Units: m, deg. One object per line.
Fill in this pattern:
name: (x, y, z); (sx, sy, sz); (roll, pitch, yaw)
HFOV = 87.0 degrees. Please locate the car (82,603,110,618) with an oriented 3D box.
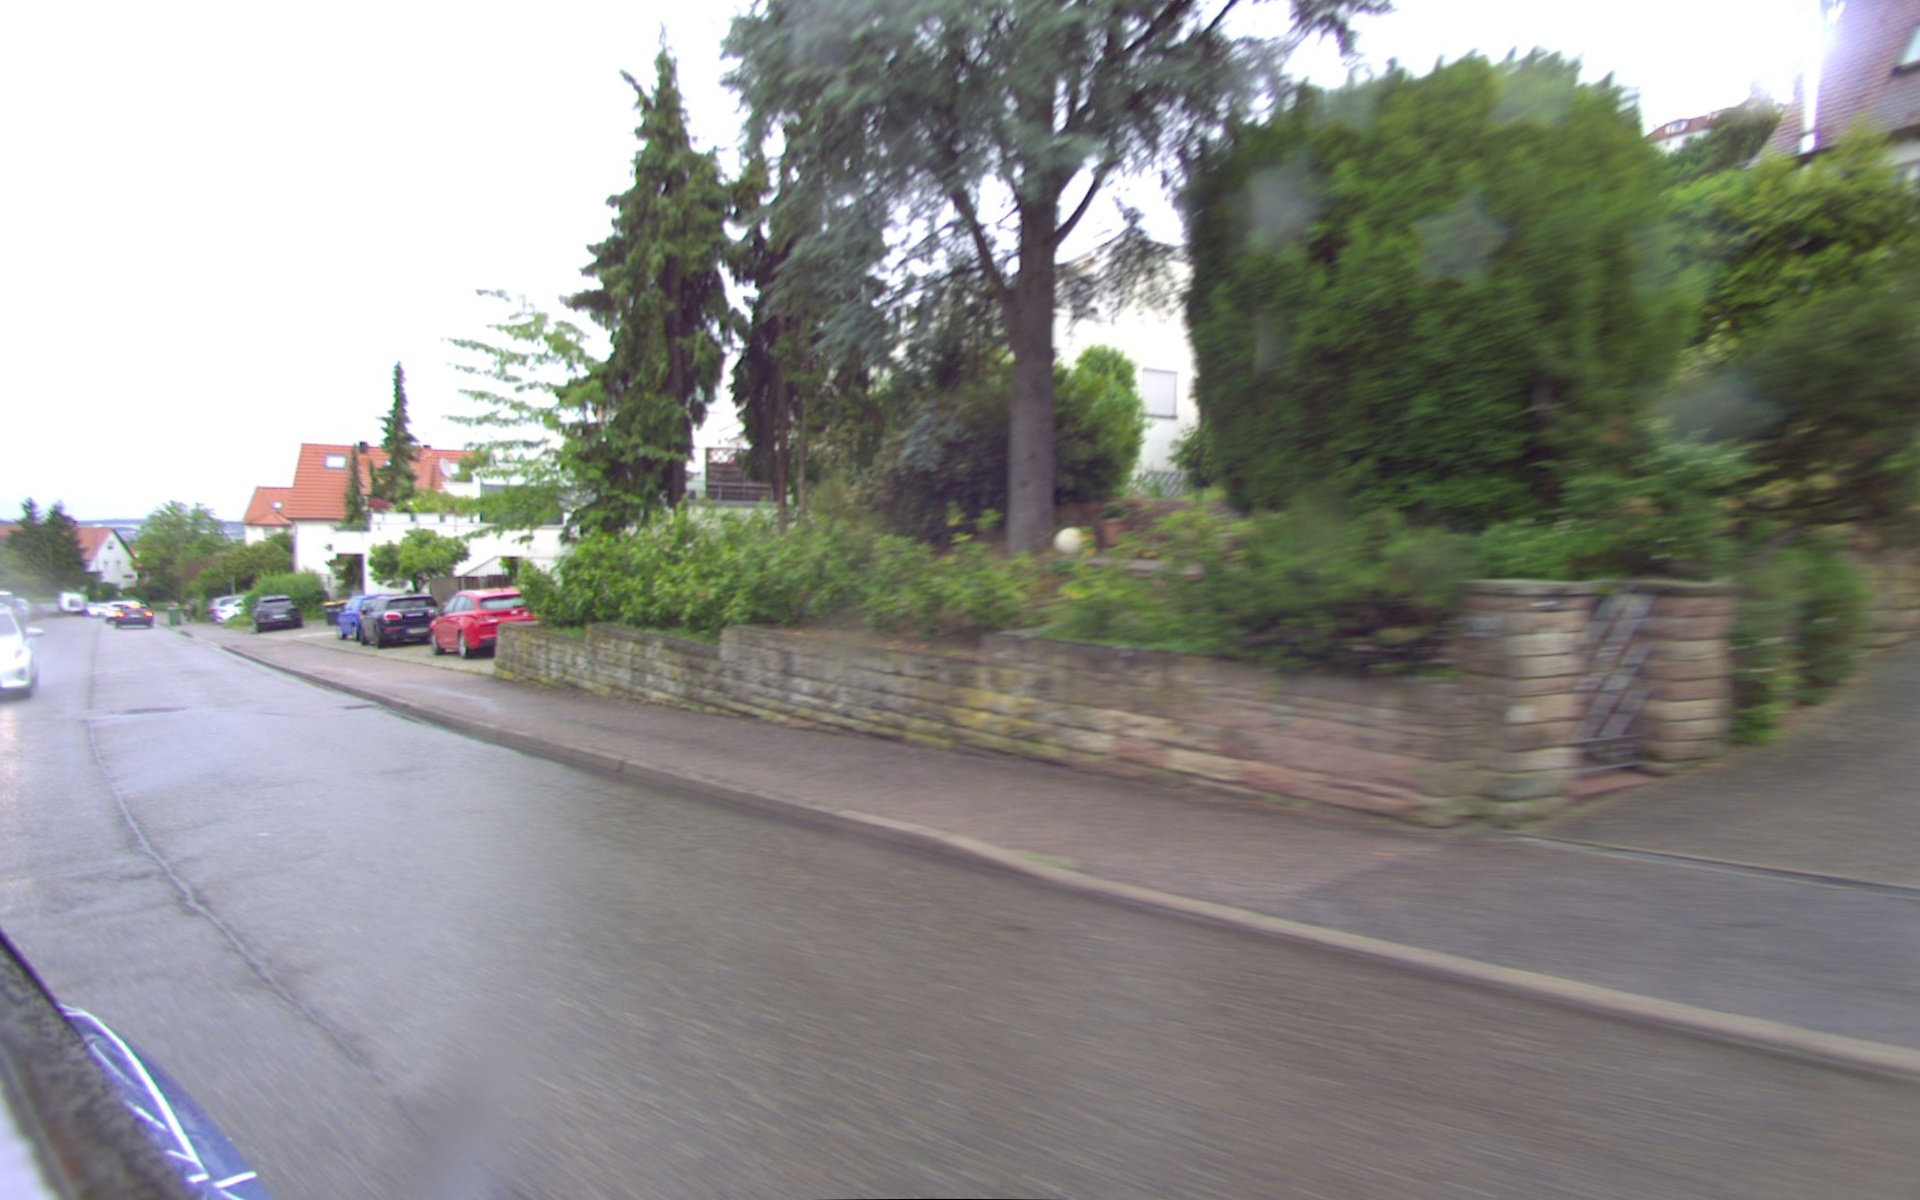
car: (-88.748, 1.059, 103.955); (1.792, 1.518, 4.736); (0, 0, -35)

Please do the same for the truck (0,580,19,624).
truck: (-60.034, 0.103, 62.654); (2.211, 2.651, 6.550); (0, 0, -39)

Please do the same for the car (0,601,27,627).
car: (-71.865, 1.046, 76.555); (1.827, 1.896, 4.916); (0, 0, -43)

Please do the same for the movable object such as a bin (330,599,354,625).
movable object such as a bin: (-27.934, 0.542, 45.732); (0.714, 1.078, 0.769); (-5, 4, -23)

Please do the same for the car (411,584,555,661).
car: (-10.972, 0.468, 23.098); (1.753, 1.447, 4.595); (-7, 4, -40)

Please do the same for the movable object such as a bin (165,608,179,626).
movable object such as a bin: (-49.468, 1.058, 63.531); (0.595, 1.072, 0.699); (-2, 1, -45)

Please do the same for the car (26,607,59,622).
car: (-89.114, 1.390, 98.380); (1.769, 1.470, 4.801); (0, 0, -35)

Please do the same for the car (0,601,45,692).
car: (-16.529, 0.754, 16.818); (1.835, 1.388, 4.187); (-2, 1, -41)

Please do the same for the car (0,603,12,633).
car: (-54.884, 1.014, 57.169); (1.738, 1.616, 4.673); (0, 0, -41)

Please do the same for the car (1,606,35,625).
car: (-79.191, 1.287, 85.149); (1.793, 1.518, 4.732); (0, 0, -39)

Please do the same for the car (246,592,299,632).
car: (-32.319, 0.570, 47.519); (1.668, 1.599, 4.206); (-9, 5, -37)

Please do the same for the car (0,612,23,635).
car: (-67.479, 1.655, 71.513); (1.627, 1.575, 3.970); (0, 0, -39)

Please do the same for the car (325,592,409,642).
car: (-19.684, 0.540, 33.501); (1.588, 1.444, 3.964); (-6, 3, -41)

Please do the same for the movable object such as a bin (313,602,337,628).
movable object such as a bin: (-28.995, 0.664, 46.247); (0.714, 1.078, 0.852); (-5, 4, -23)

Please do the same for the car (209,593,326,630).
car: (-37.973, 0.615, 55.691); (5.013, 1.959, 2.149); (0, 0, -24)

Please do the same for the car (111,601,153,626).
car: (-50.145, 0.819, 61.275); (1.752, 1.448, 4.368); (3, -2, -41)

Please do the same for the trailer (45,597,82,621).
trailer: (-95.475, 0.911, 107.819); (1.922, 2.475, 5.450); (0, 0, -31)

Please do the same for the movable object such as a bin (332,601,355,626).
movable object such as a bin: (-28.329, 0.606, 46.514); (0.714, 1.078, 0.769); (-5, 4, -23)

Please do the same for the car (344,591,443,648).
car: (-16.276, 0.527, 28.989); (1.613, 1.406, 4.245); (-6, 3, -40)

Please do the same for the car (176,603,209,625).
car: (-58.838, 1.044, 77.537); (1.781, 1.609, 4.424); (0, 0, -41)

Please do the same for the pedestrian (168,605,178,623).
pedestrian: (-69.610, 1.233, 89.518); (0.707, 1.647, 0.708); (0, 0, -39)

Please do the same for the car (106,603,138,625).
car: (-62.576, 1.021, 75.546); (1.776, 1.579, 4.391); (1, -1, -40)

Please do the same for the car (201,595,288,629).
car: (-43.637, 0.701, 61.816); (3.999, 1.704, 1.900); (-5, 3, -27)
